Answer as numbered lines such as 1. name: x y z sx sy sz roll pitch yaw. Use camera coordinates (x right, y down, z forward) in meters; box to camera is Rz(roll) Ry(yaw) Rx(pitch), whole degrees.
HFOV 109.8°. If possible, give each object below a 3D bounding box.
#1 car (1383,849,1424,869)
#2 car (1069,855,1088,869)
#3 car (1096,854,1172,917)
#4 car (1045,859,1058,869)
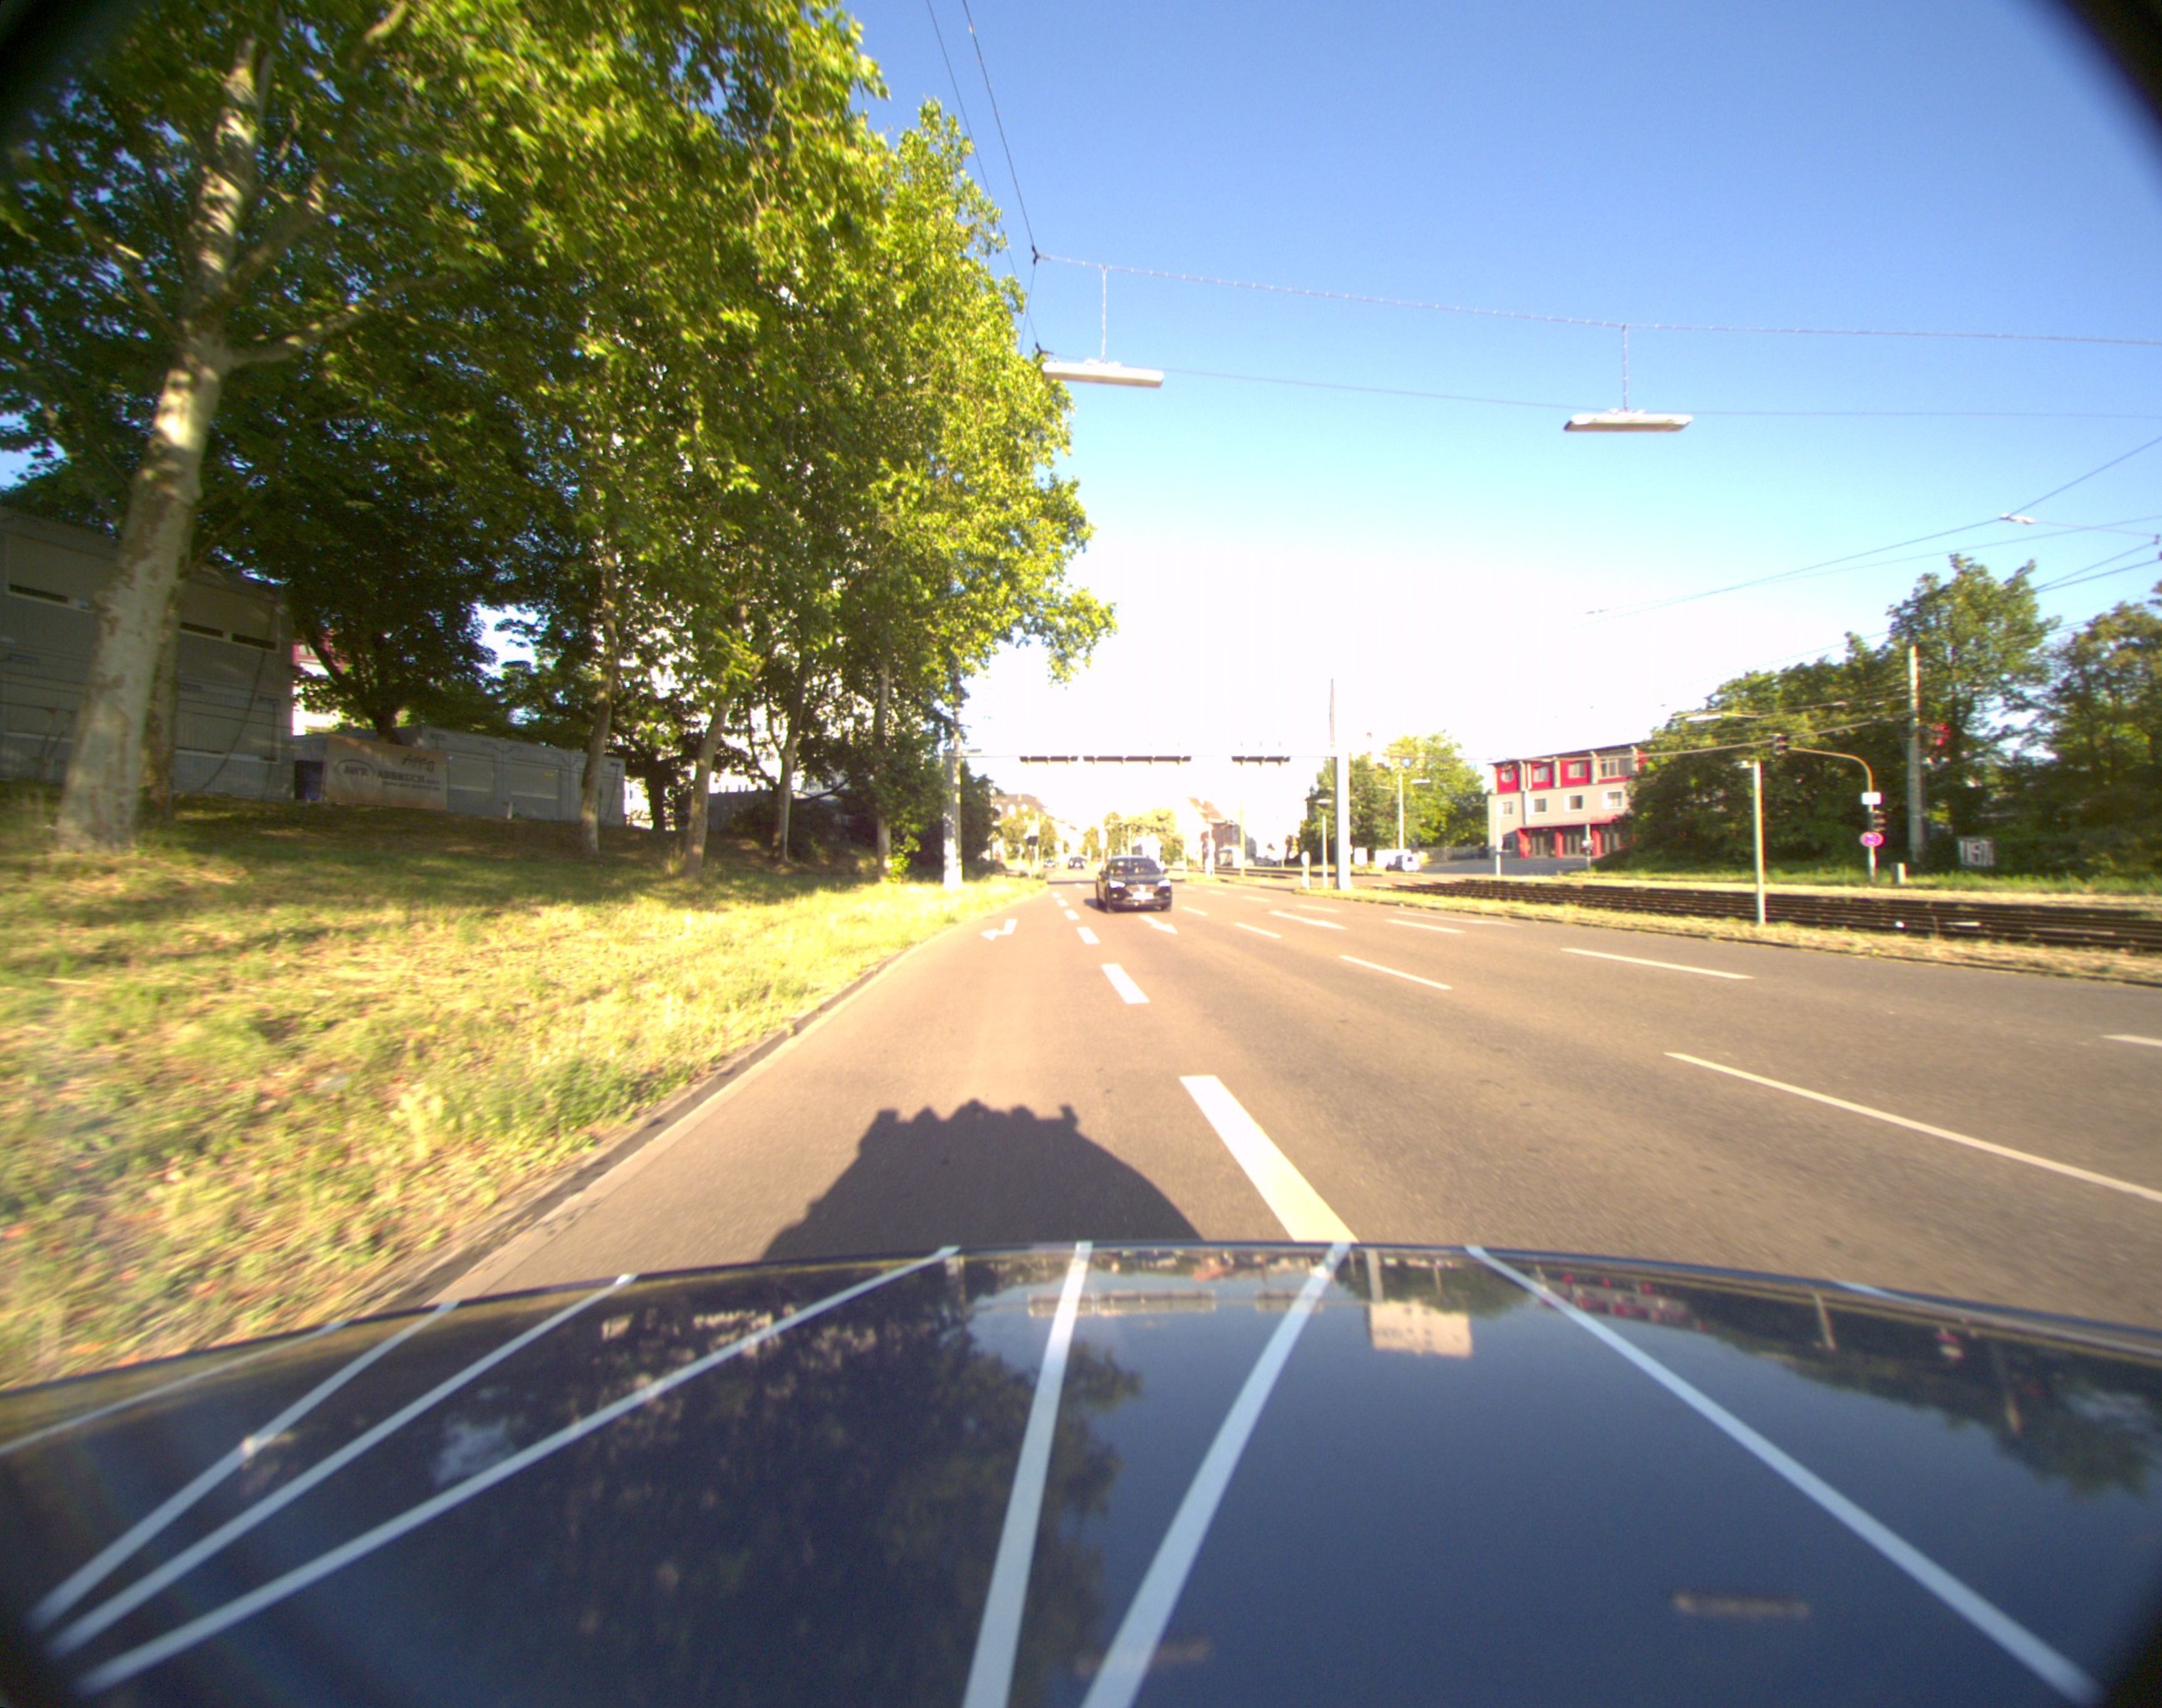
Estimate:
1. car: 29.831 0.500 70.464 1.938 1.776 4.259 -1 -1 -1
2. car: -0.337 0.955 95.594 1.906 1.652 4.274 -1 0 -6
3. car: 1.500 0.859 23.135 1.818 1.670 4.622 -1 1 -2
4. car: -4.287 1.449 110.739 1.741 1.429 3.998 -1 0 -5
